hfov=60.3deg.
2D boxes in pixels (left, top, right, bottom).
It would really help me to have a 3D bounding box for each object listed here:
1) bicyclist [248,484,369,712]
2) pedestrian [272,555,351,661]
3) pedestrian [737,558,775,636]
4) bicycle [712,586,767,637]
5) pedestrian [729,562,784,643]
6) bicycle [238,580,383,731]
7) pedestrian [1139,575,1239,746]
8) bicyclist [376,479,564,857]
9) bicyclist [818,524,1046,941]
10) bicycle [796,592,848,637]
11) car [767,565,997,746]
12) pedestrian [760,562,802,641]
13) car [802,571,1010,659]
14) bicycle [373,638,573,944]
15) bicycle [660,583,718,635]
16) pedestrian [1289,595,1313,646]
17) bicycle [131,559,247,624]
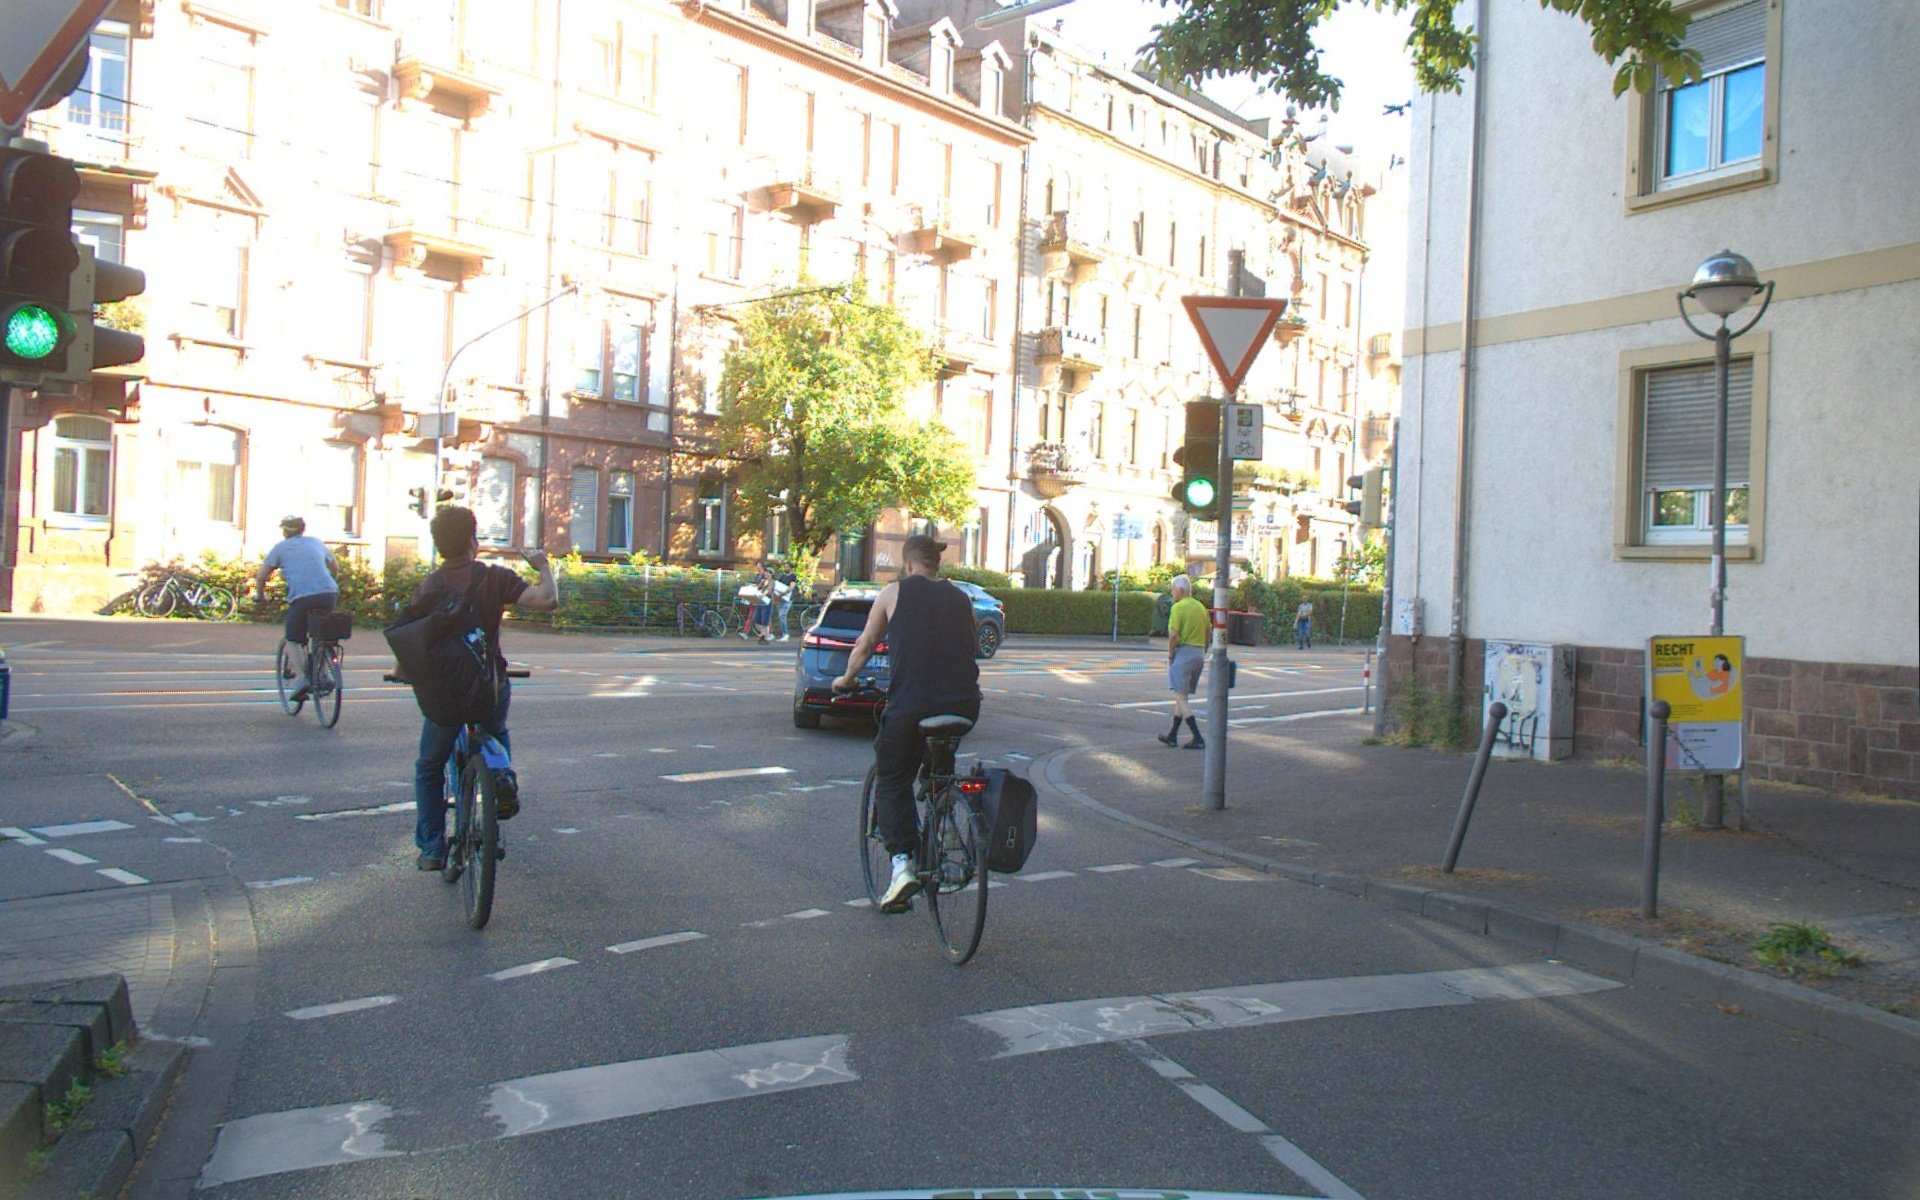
[{"bbox_3d":[-5.812,-0.017,14.730,0.786,1.946,0.935,2,0,-32],"label":"bicyclist"},{"bbox_3d":[-10.690,0.120,27.270,0.883,1.663,0.726,4,1,8],"label":"pedestrian"},{"bbox_3d":[-4.640,-0.079,37.675,0.630,1.745,0.514,2,0,-38],"label":"pedestrian"},{"bbox_3d":[-5.108,0.275,38.340,0.436,1.126,1.224,3,1,45],"label":"bicycle"},{"bbox_3d":[-4.449,0.061,36.121,0.887,1.693,0.704,2,3,-34],"label":"pedestrian"},{"bbox_3d":[-5.822,0.455,14.736,0.802,1.205,2.203,2,0,-31],"label":"bicycle"},{"bbox_3d":[2.430,0.618,17.580,0.637,1.758,0.878,-1,1,-33],"label":"pedestrian"},{"bbox_3d":[-2.267,0.292,7.588,0.696,1.601,0.951,2,0,-21],"label":"bicyclist"},{"bbox_3d":[-0.144,0.536,7.272,0.677,1.685,0.983,1,0,-22],"label":"bicyclist"},{"bbox_3d":[-3.351,0.354,40.242,0.436,1.056,1.225,3,1,44],"label":"bicycle"},{"bbox_3d":[-0.717,0.532,18.452,1.929,1.612,4.477,5,1,4],"label":"car"},{"bbox_3d":[-4.046,0.042,37.340,0.630,1.745,0.655,2,0,-38],"label":"pedestrian"},{"bbox_3d":[-1.068,0.321,34.687,1.912,1.678,4.387,2,0,39],"label":"car"},{"bbox_3d":[-2.288,0.793,7.602,0.706,1.126,1.955,2,0,-21],"label":"bicycle"},{"bbox_3d":[-6.117,0.203,37.350,0.436,1.126,1.224,3,1,45],"label":"bicycle"},{"bbox_3d":[11.377,0.670,55.160,0.490,1.669,0.519,2,0,-39],"label":"pedestrian"},{"bbox_3d":[-14.970,-0.168,32.154,1.929,1.126,0.441,4,0,-17],"label":"bicycle"}]
